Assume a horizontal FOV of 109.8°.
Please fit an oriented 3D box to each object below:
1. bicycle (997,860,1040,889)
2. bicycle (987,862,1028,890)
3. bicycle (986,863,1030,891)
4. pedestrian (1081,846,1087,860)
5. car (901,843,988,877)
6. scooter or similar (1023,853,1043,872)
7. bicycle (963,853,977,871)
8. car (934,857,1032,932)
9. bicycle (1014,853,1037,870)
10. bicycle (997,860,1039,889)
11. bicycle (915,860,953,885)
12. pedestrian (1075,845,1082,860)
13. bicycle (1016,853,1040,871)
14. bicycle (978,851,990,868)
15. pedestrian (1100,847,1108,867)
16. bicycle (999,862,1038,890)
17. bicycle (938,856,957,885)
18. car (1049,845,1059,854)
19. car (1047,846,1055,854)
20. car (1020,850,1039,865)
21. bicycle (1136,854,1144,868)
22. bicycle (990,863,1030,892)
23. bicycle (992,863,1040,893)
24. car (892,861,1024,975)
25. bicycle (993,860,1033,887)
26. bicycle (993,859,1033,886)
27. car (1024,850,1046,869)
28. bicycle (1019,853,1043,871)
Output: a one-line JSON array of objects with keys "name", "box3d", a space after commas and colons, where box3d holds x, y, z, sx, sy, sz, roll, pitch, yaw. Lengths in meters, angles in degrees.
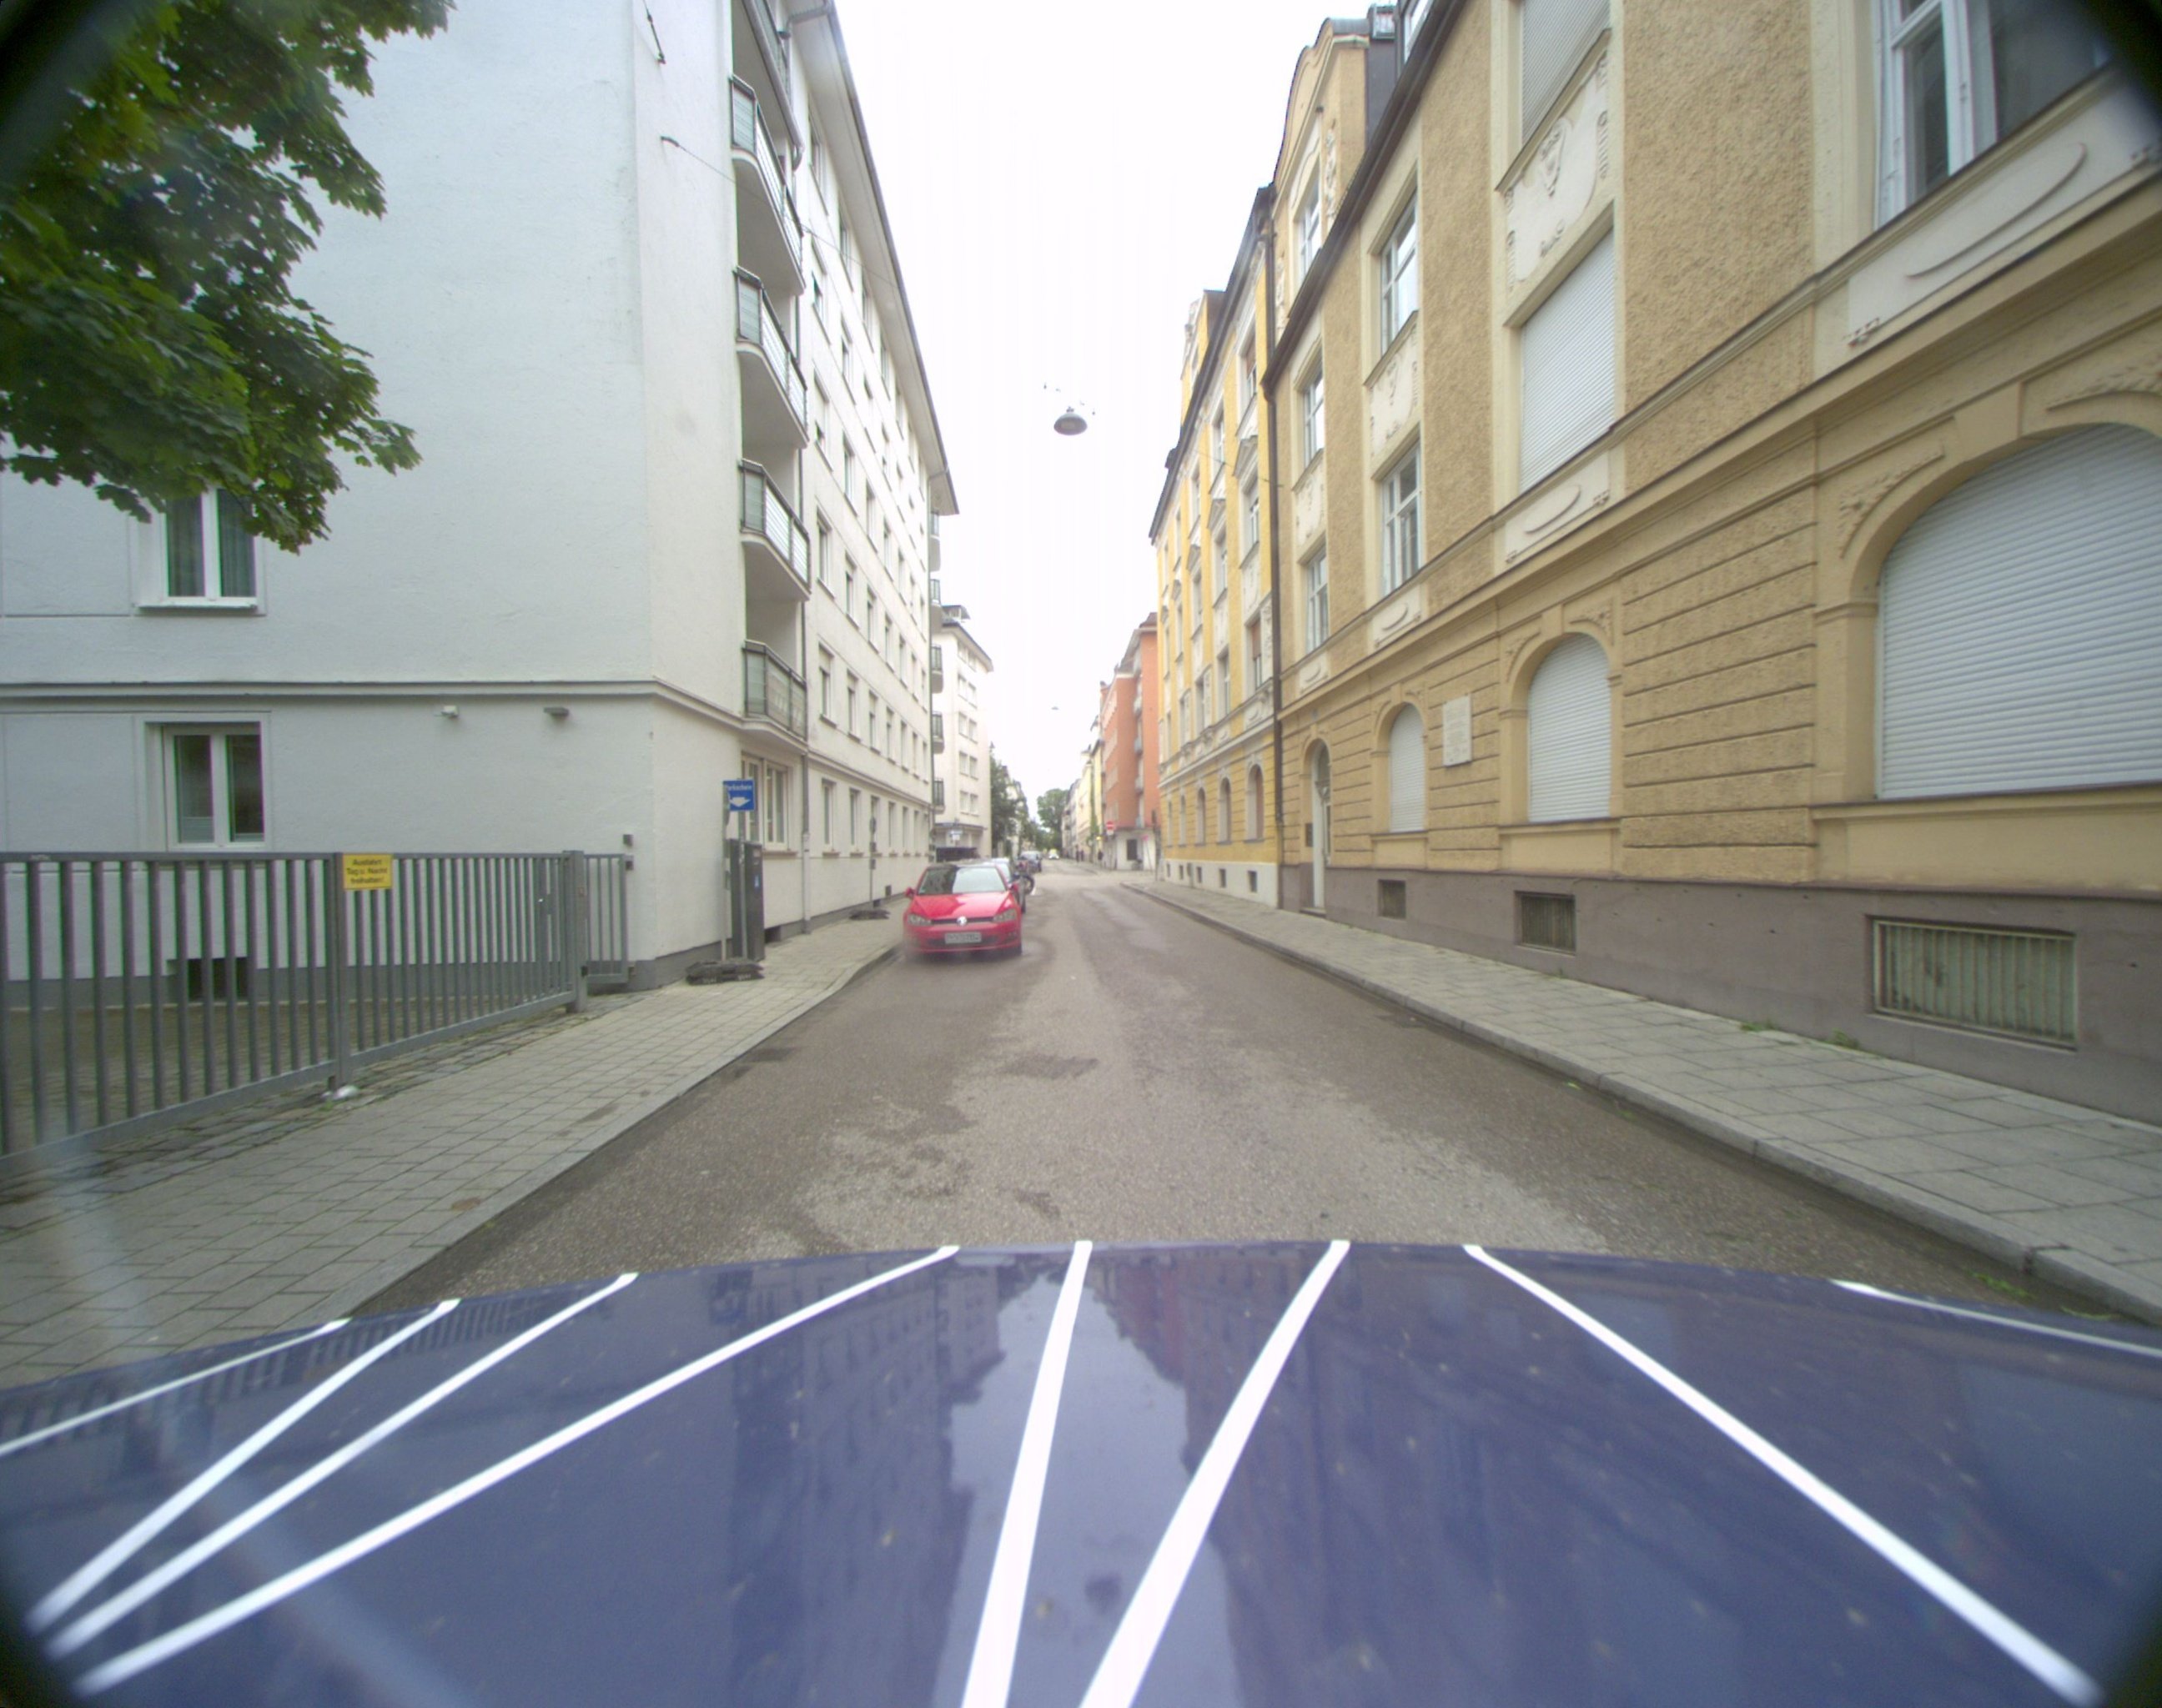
[{"name": "bicycle", "box3d": [-2.563, 0.850, 31.254, 1.700, 1.154, 0.378, -1, 1, -3]}, {"name": "bicycle", "box3d": [-2.832, 0.853, 29.233, 1.520, 1.038, 0.360, 1, 1, 5]}, {"name": "bicycle", "box3d": [-2.751, 0.862, 28.685, 1.590, 1.038, 0.323, 1, 1, 6]}, {"name": "pedestrian", "box3d": [0.369, -0.125, 91.851, 0.699, 1.783, 0.763, -1, 1, -2]}, {"name": "car", "box3d": [-8.056, 0.360, 45.149, 4.677, 1.880, 1.934, -1, 0, 6]}, {"name": "scooter or similar", "box3d": [-3.243, 0.567, 51.342, 1.341, 1.207, 0.344, -1, 1, 0]}, {"name": "bicycle", "box3d": [-7.451, 0.537, 51.021, 0.528, 1.207, 1.610, -1, 1, 5]}, {"name": "car", "box3d": [-2.196, 0.846, 18.113, 1.799, 1.430, 4.382, -3, 1, -1]}, {"name": "bicycle", "box3d": [-3.948, 0.537, 53.873, 1.608, 1.207, 0.529, -1, 1, 0]}, {"name": "bicycle", "box3d": [-2.620, 0.845, 31.651, 1.700, 1.154, 0.378, -1, 1, -3]}, {"name": "bicycle", "box3d": [-6.186, 0.781, 31.943, 1.503, 1.038, 0.398, 1, 1, -21]}, {"name": "pedestrian", "box3d": [-0.303, -0.163, 91.738, 0.726, 1.783, 0.829, -1, 1, -2]}, {"name": "bicycle", "box3d": [-3.720, 0.543, 53.320, 1.608, 1.207, 0.529, -1, 1, 0]}, {"name": "bicycle", "box3d": [-7.005, 0.364, 55.079, 0.528, 1.207, 1.610, -1, 1, 5]}, {"name": "pedestrian", "box3d": [1.902, 0.237, 62.025, 0.613, 1.684, 0.565, -1, 1, -3]}, {"name": "bicycle", "box3d": [-2.438, 0.853, 29.588, 1.441, 1.038, 0.360, 1, 1, 6]}, {"name": "bicycle", "box3d": [-5.947, 0.726, 33.804, 0.400, 1.198, 1.502, 0, 1, -27]}, {"name": "car", "box3d": [-5.540, -0.933, 155.364, 1.930, 1.794, 4.442, -1, 0, -3]}, {"name": "car", "box3d": [-7.882, -0.972, 201.418, 1.999, 2.002, 4.645, -1, 0, -3]}, {"name": "car", "box3d": [-4.986, 0.297, 73.958, 1.654, 1.391, 3.998, -1, 1, -2]}, {"name": "bicycle", "box3d": [4.169, 0.486, 53.649, 0.391, 0.932, 1.539, -1, 0, -2]}, {"name": "bicycle", "box3d": [-2.649, 0.866, 28.328, 1.439, 1.038, 0.330, 1, 1, 6]}, {"name": "bicycle", "box3d": [-2.381, 0.871, 27.873, 1.707, 1.038, 0.360, 1, 1, -2]}, {"name": "car", "box3d": [-2.024, 0.913, 12.835, 1.766, 1.438, 4.295, -3, 1, -8]}, {"name": "bicycle", "box3d": [-2.945, 0.842, 32.976, 1.700, 1.154, 0.313, -1, 1, -3]}, {"name": "bicycle", "box3d": [-2.968, 0.818, 33.304, 1.700, 1.154, 0.313, -1, 1, -3]}, {"name": "car", "box3d": [-3.548, 0.394, 59.156, 1.654, 1.391, 3.998, -1, 1, -2]}, {"name": "bicycle", "box3d": [-3.462, 0.549, 52.759, 1.608, 1.207, 0.529, -1, 1, 0]}]
